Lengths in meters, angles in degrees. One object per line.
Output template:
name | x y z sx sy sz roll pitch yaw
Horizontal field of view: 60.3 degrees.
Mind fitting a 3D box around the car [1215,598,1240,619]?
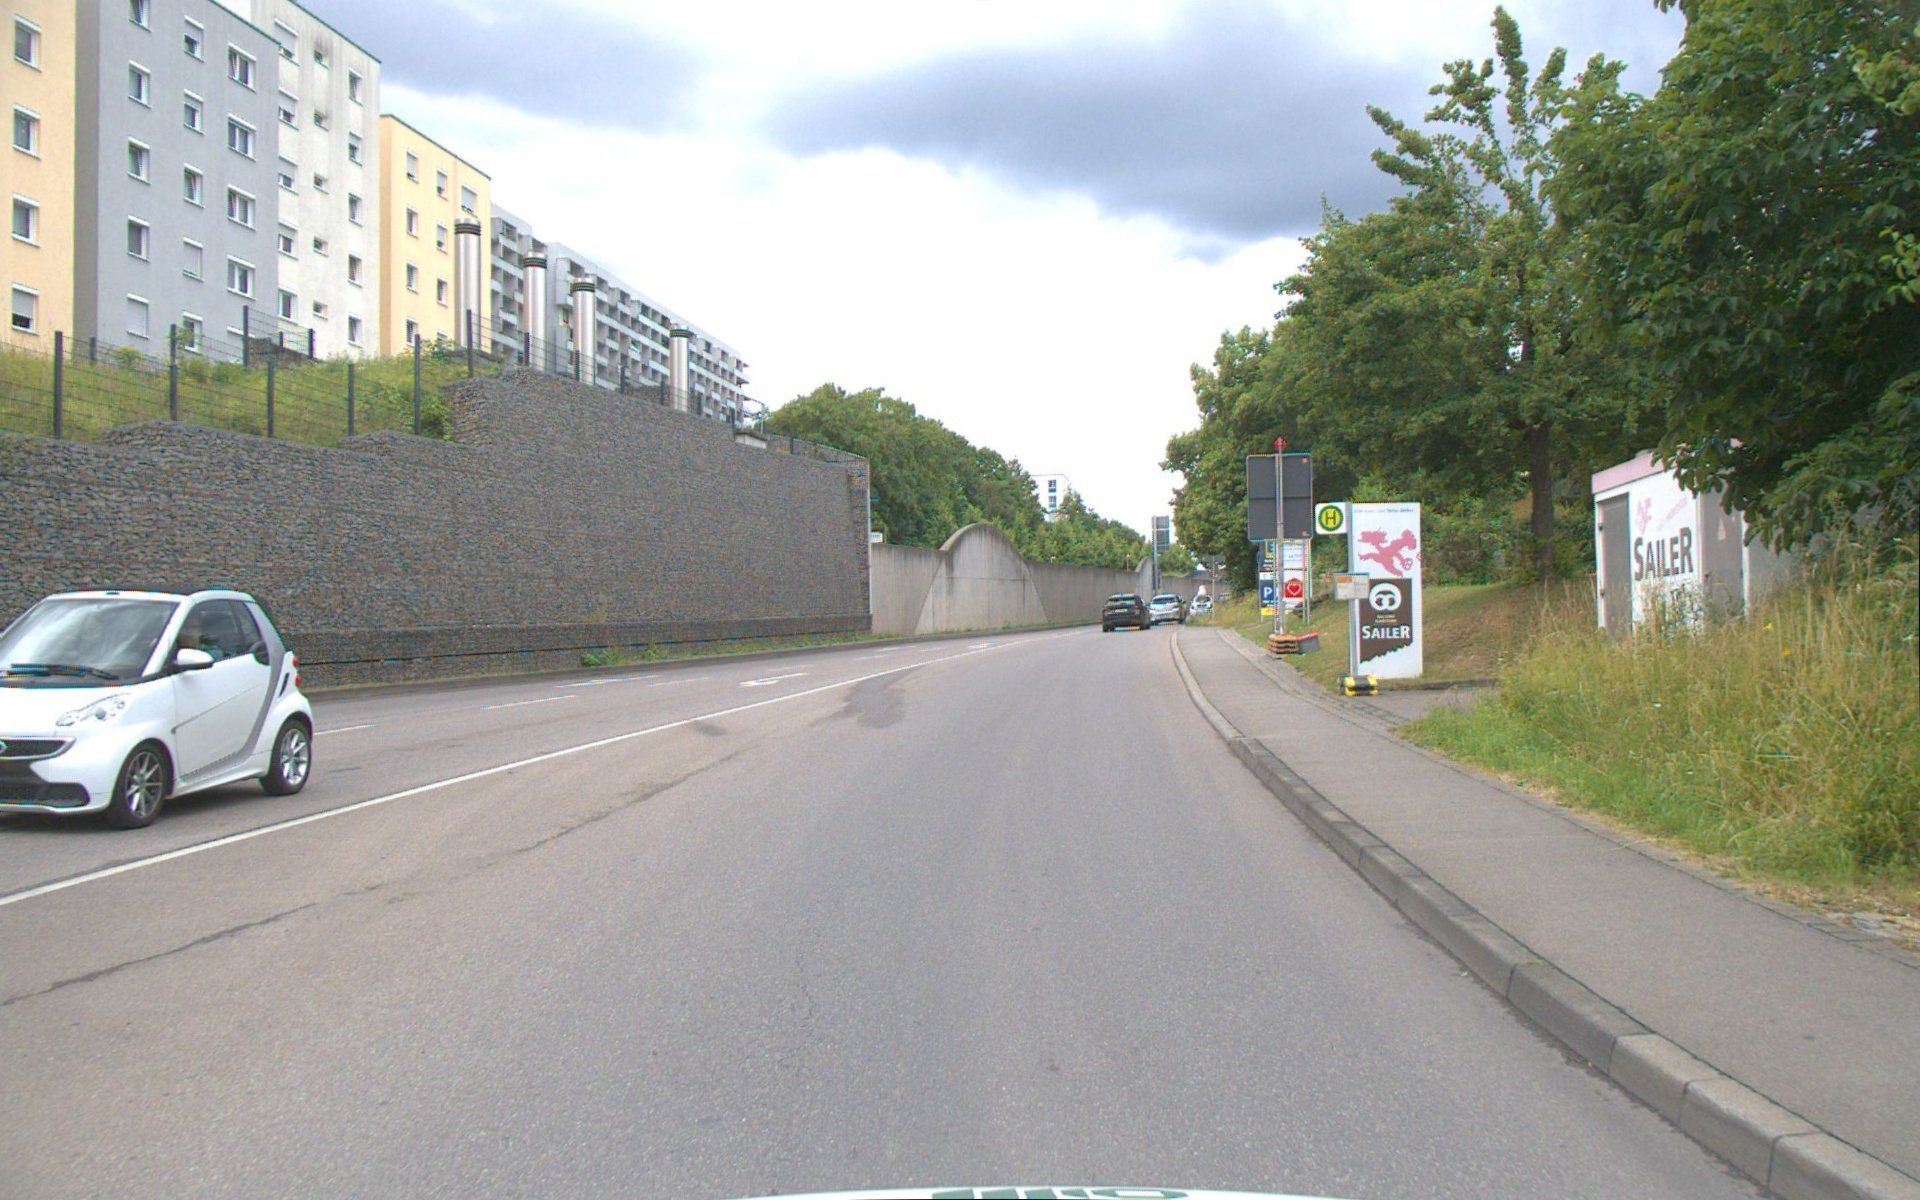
car | 21.408 0.661 132.413 1.717 1.560 4.257 0 -2 12

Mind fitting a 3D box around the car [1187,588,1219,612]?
car | 16.199 0.000 110.135 1.827 1.516 4.260 0 -1 12

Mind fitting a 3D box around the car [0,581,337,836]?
car | -5.806 0.660 11.609 1.510 1.550 2.916 0 0 6

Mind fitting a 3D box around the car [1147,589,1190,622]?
car | 10.648 0.305 84.189 1.717 1.550 4.039 0 -2 13

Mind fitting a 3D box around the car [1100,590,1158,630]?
car | 6.977 0.425 68.118 1.717 1.550 4.039 0 -2 16

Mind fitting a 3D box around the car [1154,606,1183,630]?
car | 15.463 1.299 122.695 1.822 1.660 4.211 -3 -1 11
